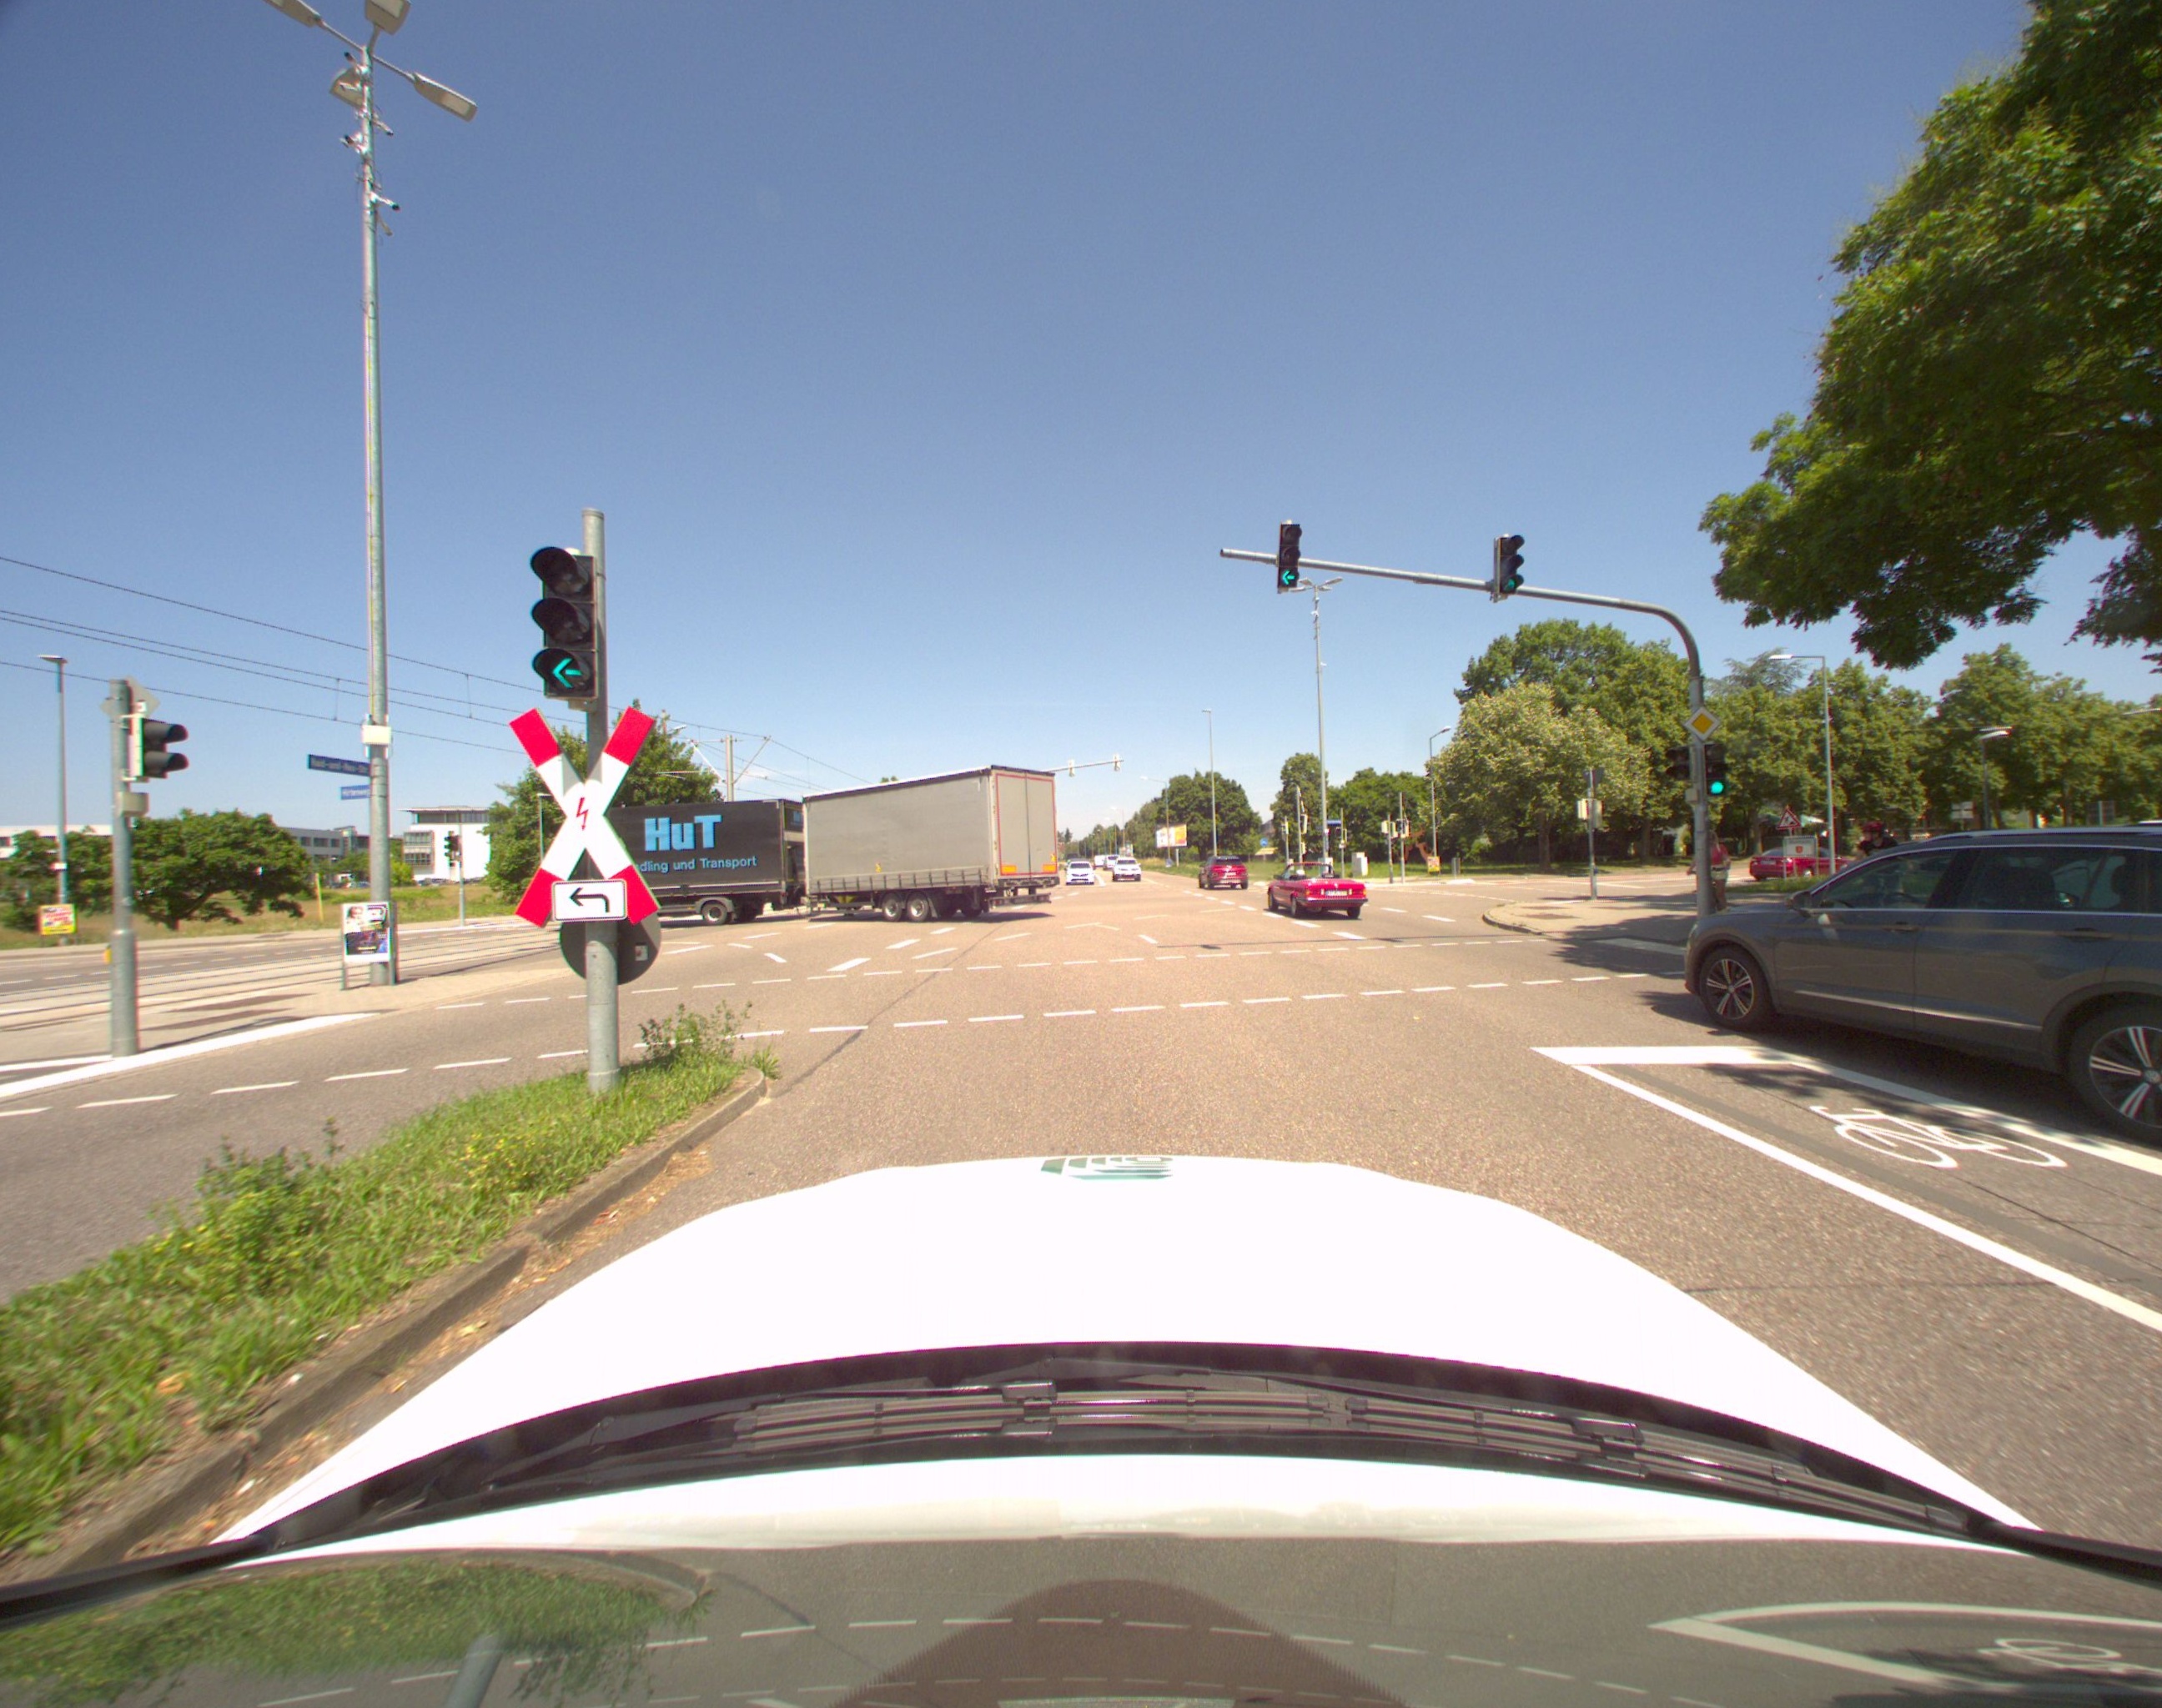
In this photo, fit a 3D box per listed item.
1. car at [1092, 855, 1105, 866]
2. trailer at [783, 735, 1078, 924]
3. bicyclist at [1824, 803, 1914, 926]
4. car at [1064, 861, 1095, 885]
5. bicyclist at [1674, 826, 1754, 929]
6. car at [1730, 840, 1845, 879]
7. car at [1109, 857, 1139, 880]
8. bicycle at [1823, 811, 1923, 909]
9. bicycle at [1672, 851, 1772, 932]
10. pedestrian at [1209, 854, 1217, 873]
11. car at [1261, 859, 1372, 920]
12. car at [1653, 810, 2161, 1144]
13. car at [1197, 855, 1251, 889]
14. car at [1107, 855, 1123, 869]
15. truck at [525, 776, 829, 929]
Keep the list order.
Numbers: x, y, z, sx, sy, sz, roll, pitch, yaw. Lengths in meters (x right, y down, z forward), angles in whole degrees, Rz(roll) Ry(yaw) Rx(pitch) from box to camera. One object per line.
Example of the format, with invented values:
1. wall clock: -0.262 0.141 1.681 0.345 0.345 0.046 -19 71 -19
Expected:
1. car: 2.707 1.056 126.525 1.852 1.692 4.155 0 0 0
2. trailer: -4.471 -0.421 22.790 8.635 4.422 2.854 -3 -2 36
3. bicyclist: 11.367 0.152 11.777 0.717 1.703 0.683 -5 -1 34
4. car: -0.103 1.121 50.320 1.852 1.373 4.155 0 0 0
5. bicyclist: 11.175 0.409 14.403 0.797 1.727 0.681 -4 -1 12
6. car: 29.969 0.208 34.523 4.509 1.503 1.984 -2 0 -25
7. car: 2.898 0.977 55.931 1.852 1.543 4.155 0 0 0
8. bicycle: 11.270 0.078 11.640 0.717 1.295 1.313 -5 -1 34
9. bicycle: 11.178 0.618 14.271 0.640 1.304 1.631 -4 -1 12
10. pedestrian: 14.142 1.002 87.094 0.740 2.014 0.613 0 0 1
11. car: 5.971 0.842 21.163 1.649 1.396 4.266 0 0 0
12. car: 6.190 0.607 5.412 1.694 1.654 4.397 0 0 0
13. car: 6.734 0.817 38.707 1.852 1.549 3.886 0 0 0
14. car: 4.161 0.984 100.127 1.852 1.692 4.155 0 0 0
15. truck: -12.668 0.007 25.985 8.223 4.345 2.838 -2 -2 2
